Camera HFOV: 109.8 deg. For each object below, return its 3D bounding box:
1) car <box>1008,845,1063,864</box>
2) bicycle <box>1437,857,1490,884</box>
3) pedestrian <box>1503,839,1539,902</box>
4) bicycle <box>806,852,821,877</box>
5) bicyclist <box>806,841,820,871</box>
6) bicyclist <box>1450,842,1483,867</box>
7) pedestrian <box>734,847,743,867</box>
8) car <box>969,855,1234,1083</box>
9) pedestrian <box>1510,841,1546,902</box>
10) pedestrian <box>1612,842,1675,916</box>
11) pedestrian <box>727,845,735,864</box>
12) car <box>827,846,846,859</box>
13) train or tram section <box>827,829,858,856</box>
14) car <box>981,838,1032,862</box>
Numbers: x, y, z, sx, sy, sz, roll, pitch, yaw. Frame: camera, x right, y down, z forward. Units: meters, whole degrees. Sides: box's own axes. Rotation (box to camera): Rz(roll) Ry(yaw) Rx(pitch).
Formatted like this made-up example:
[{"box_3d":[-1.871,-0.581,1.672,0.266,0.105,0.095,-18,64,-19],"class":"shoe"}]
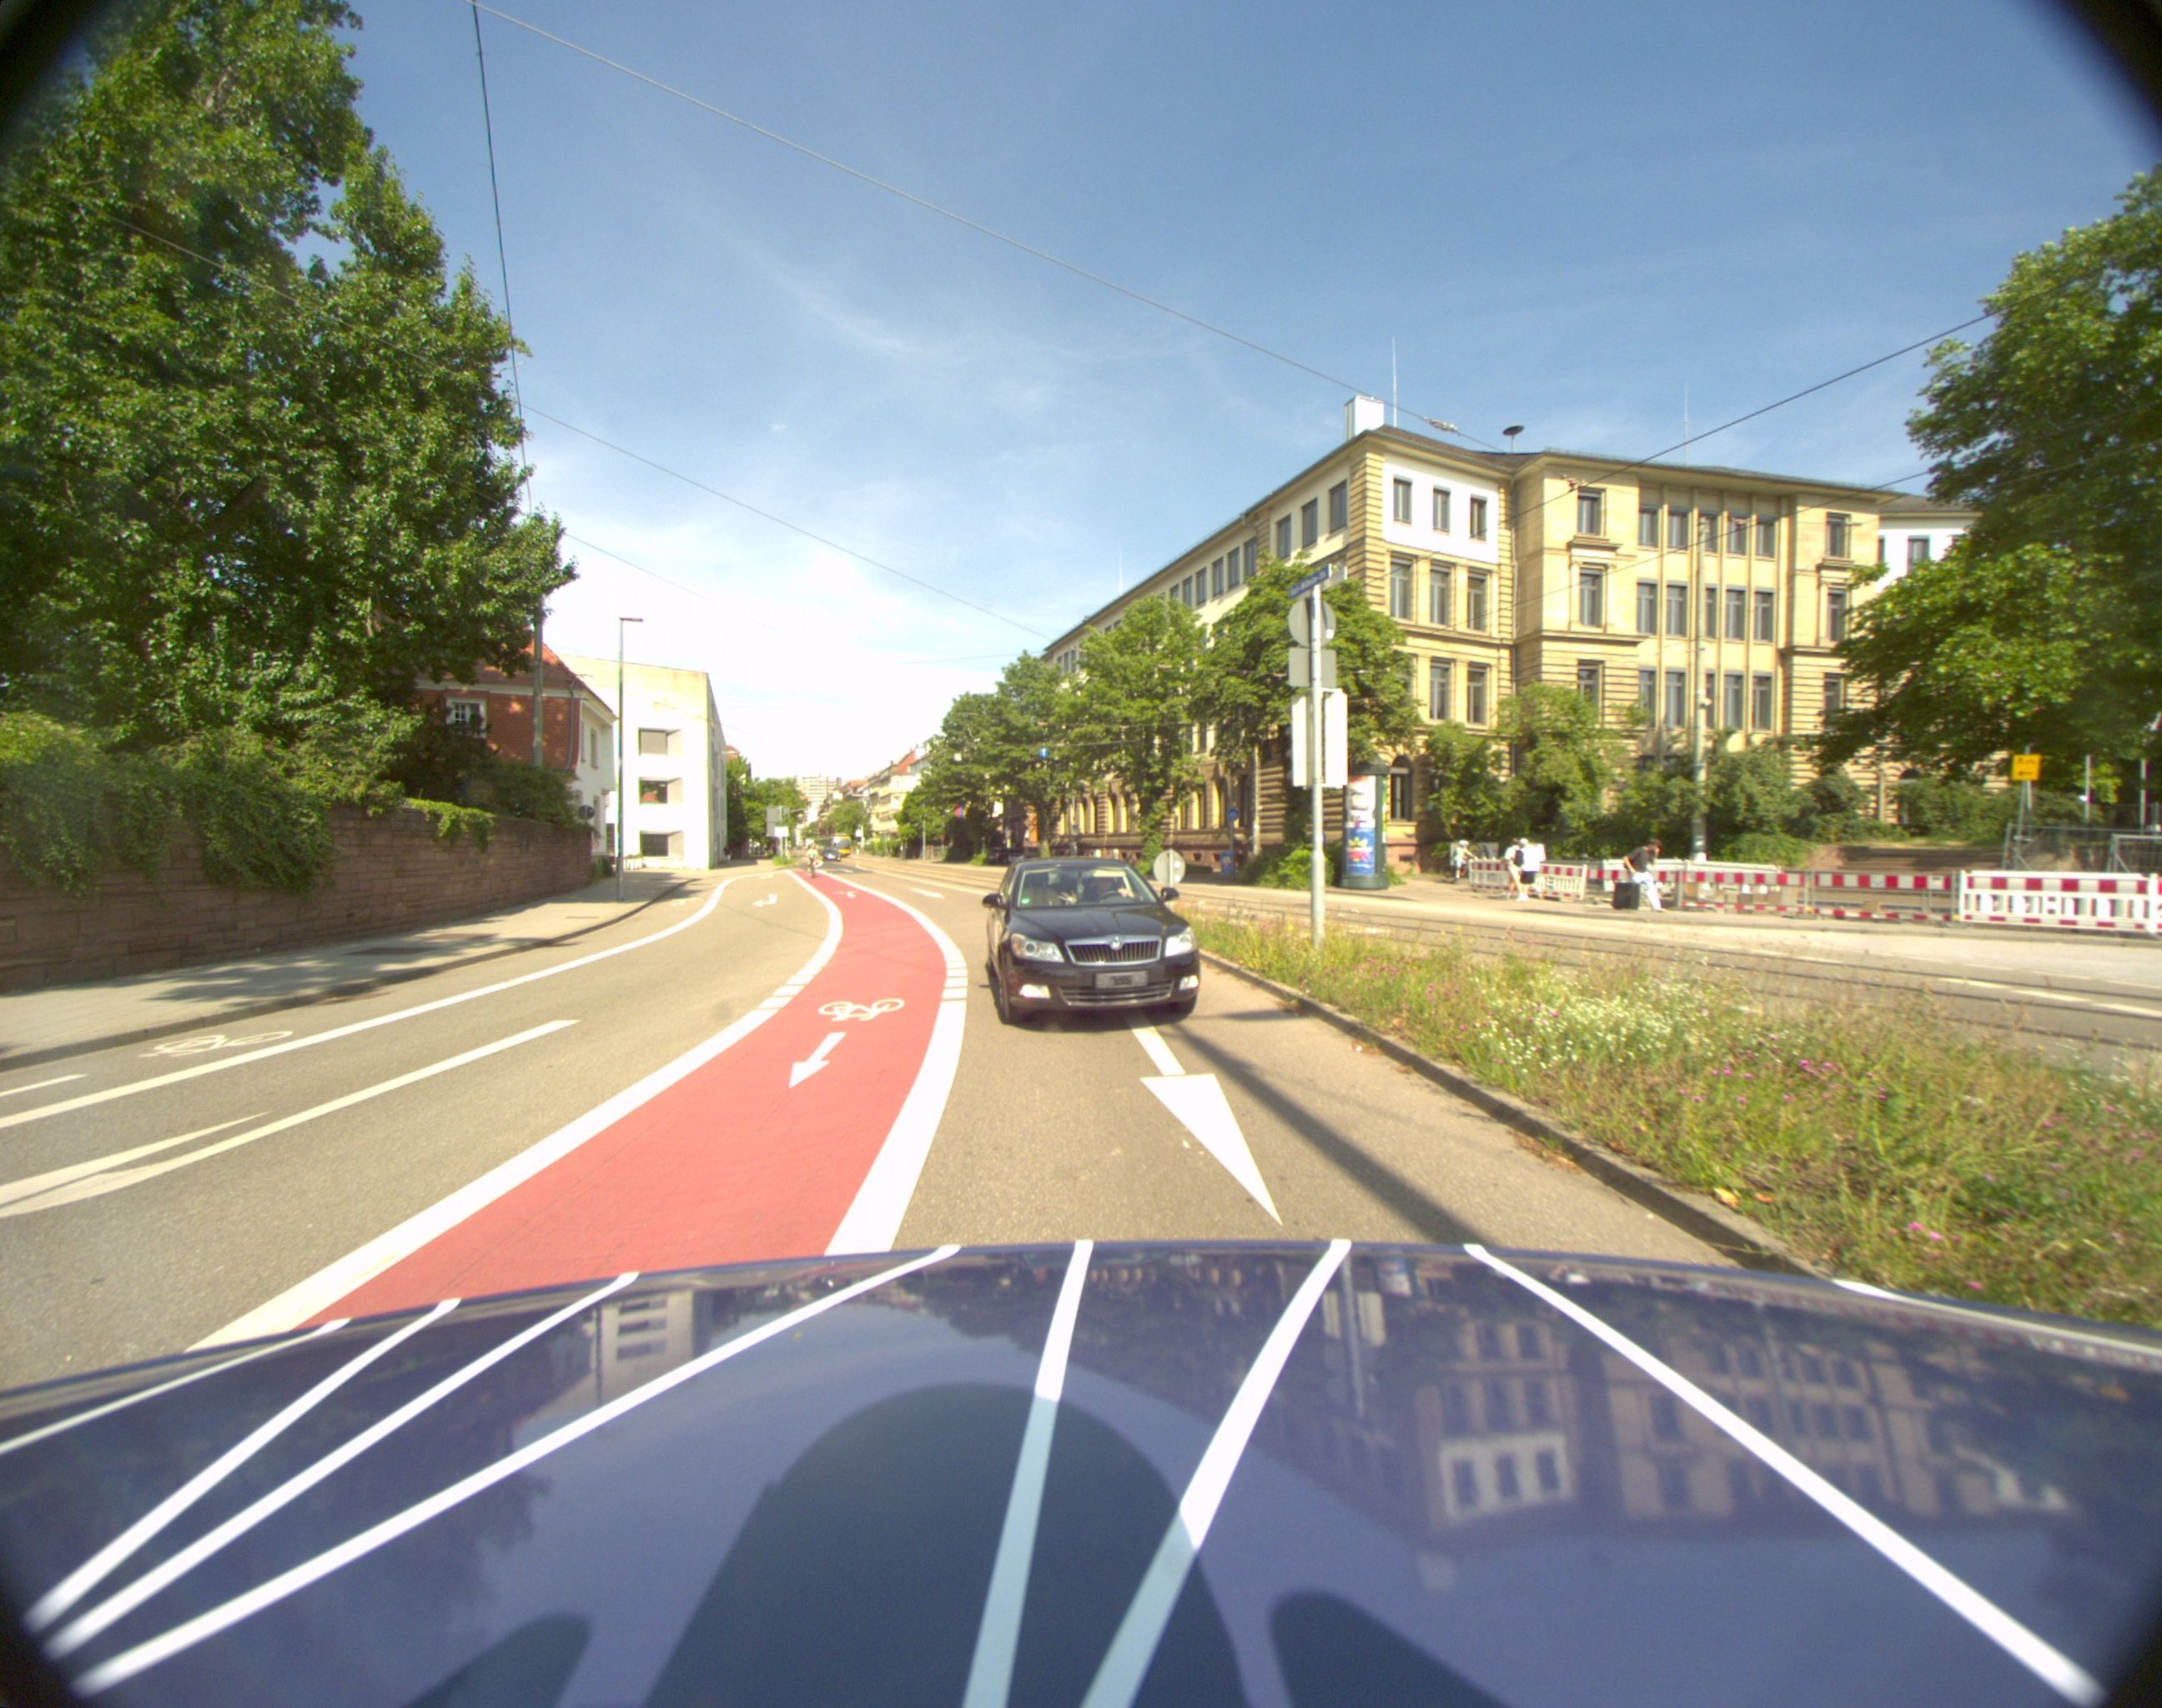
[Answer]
[{"box_3d":[-3.713,0.048,61.630,4.005,1.455,1.996,0,1,-24],"class":"car"},{"box_3d":[14.382,0.613,28.590,0.702,0.941,1.662,-1,1,-27],"class":"bicycle"},{"box_3d":[12.463,0.455,21.523,0.586,1.740,0.742,-1,2,-44],"class":"pedestrian"},{"box_3d":[-13.995,0.541,39.761,0.687,1.215,2.182,0,1,-21],"class":"bicycle"},{"box_3d":[-13.993,0.103,39.702,0.589,1.539,0.930,-3,2,-20],"class":"bicyclist"},{"box_3d":[14.427,-0.001,28.448,0.684,0.922,0.867,-1,1,-27],"class":"bicyclist"},{"box_3d":[-28.272,0.250,62.764,0.651,1.697,0.710,-1,1,-24],"class":"pedestrian"},{"box_3d":[-0.178,0.814,7.883,1.865,1.510,4.822,0,1,-9],"class":"car"},{"box_3d":[12.970,0.482,22.042,0.742,1.740,0.586,1,2,44],"class":"pedestrian"},{"box_3d":[12.933,0.548,17.505,0.938,1.646,0.845,0,1,20],"class":"pedestrian"},{"box_3d":[-28.777,0.006,62.405,0.550,1.559,0.929,-1,1,-24],"class":"pedestrian"},{"box_3d":[-26.187,-0.197,81.299,1.804,1.368,4.269,0,1,-19],"class":"car"},{"box_3d":[-36.518,-1.722,116.028,3.220,3.838,14.557,0,1,-23],"class":"train or tram section"},{"box_3d":[-6.515,-0.340,66.655,4.005,2.002,1.996,0,1,-24],"class":"car"}]
